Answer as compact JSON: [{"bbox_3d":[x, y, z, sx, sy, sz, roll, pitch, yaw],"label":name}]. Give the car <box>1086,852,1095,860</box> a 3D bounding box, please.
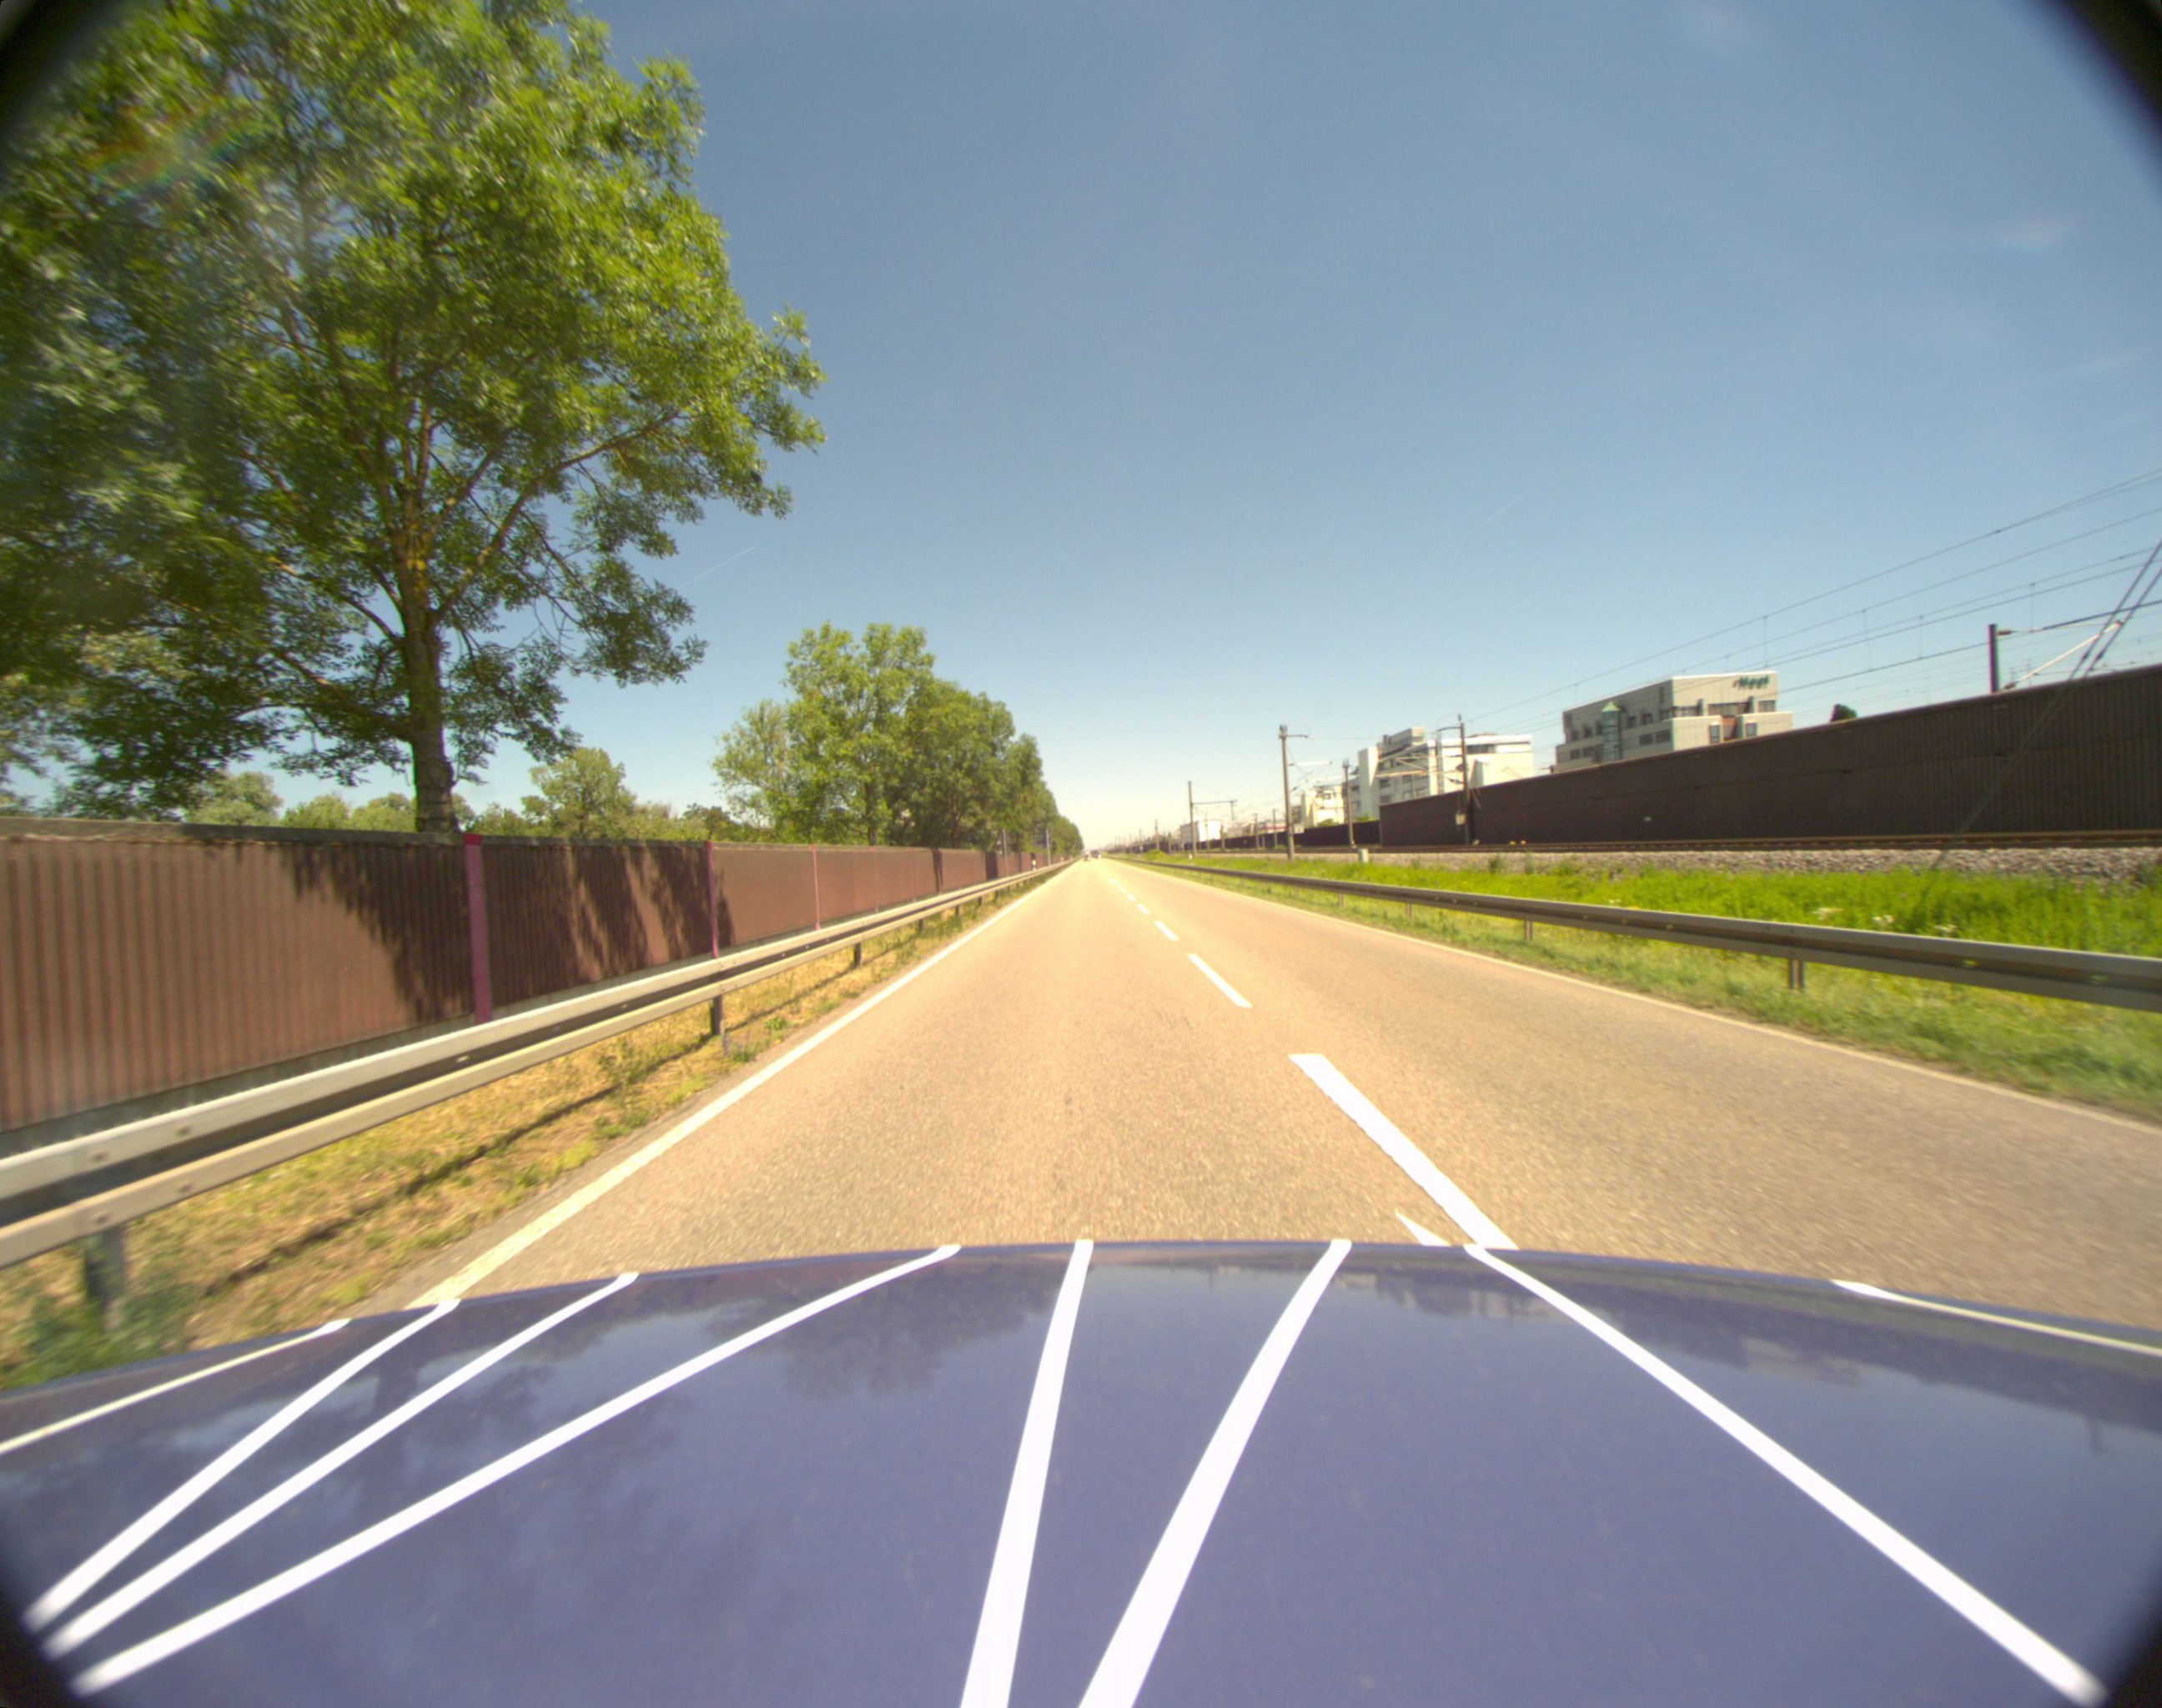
[{"bbox_3d":[2.490,0.421,196.212,1.998,2.002,4.001,-2,0,4],"label":"car"}]
